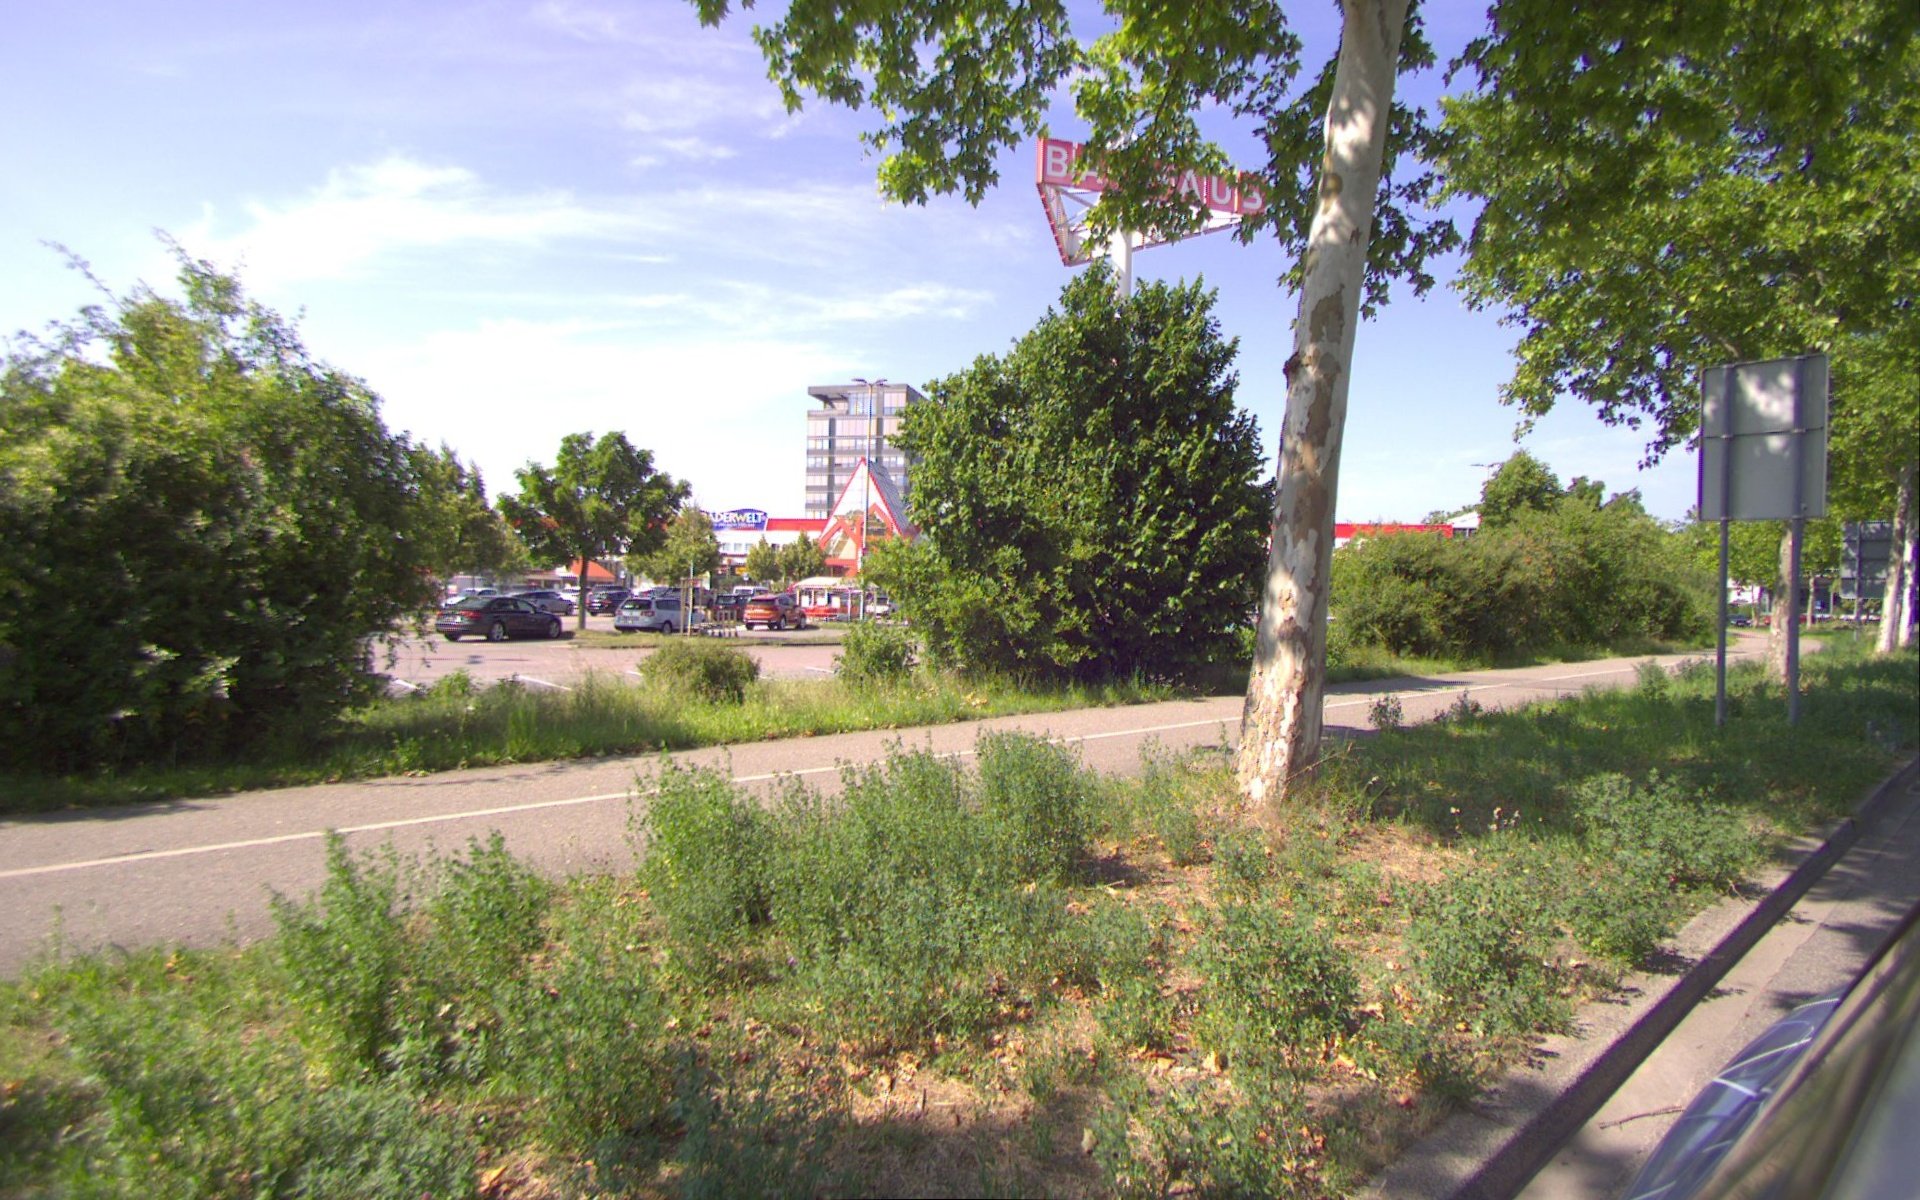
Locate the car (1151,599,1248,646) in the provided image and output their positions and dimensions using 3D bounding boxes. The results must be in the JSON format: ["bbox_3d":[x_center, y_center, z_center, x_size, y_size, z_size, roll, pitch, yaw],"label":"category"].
[{"bbox_3d":[8.323,0.736,35.273,1.175,1.474,3.156,0,1,-43],"label":"car"}]

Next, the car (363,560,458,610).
[{"bbox_3d":[-33.384,-0.878,61.668,2.270,2.889,5.266,0,0,11],"label":"car"}]

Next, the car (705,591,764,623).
[{"bbox_3d":[-12.128,0.359,54.681,1.745,1.625,3.732,0,0,11],"label":"car"}]

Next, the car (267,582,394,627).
[{"bbox_3d":[-21.500,0.159,34.734,1.472,1.460,3.859,-1,0,11],"label":"car"}]

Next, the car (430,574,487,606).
[{"bbox_3d":[-36.103,-0.696,72.953,1.973,2.256,3.567,0,0,11],"label":"car"}]

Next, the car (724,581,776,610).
[{"bbox_3d":[-14.021,-0.304,67.833,1.973,1.834,4.043,0,0,11],"label":"car"}]

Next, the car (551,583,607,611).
[{"bbox_3d":[-26.674,-0.193,70.937,1.861,1.868,4.043,0,0,11],"label":"car"}]

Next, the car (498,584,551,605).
[{"bbox_3d":[-30.945,-0.357,72.036,1.507,1.455,3.847,0,0,13],"label":"car"}]

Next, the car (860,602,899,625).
[{"bbox_3d":[-5.125,0.835,65.005,1.545,1.397,3.606,0,0,11],"label":"car"}]

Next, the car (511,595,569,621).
[{"bbox_3d":[-24.259,0.451,58.548,1.534,1.444,3.332,0,0,11],"label":"car"}]

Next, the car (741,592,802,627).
[{"bbox_3d":[-8.860,0.439,47.835,1.654,1.565,3.778,0,0,9],"label":"car"}]

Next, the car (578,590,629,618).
[{"bbox_3d":[-20.560,0.220,58.470,1.473,1.527,3.495,0,0,5],"label":"car"}]

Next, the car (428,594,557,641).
[{"bbox_3d":[-14.596,0.504,31.816,1.425,1.371,3.978,0,0,17],"label":"car"}]

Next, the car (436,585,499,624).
[{"bbox_3d":[-28.909,0.266,59.506,1.534,2.191,3.540,0,0,11],"label":"car"}]

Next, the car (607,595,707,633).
[{"bbox_3d":[-11.073,0.545,37.235,1.759,1.289,3.806,0,-2,15],"label":"car"}]
